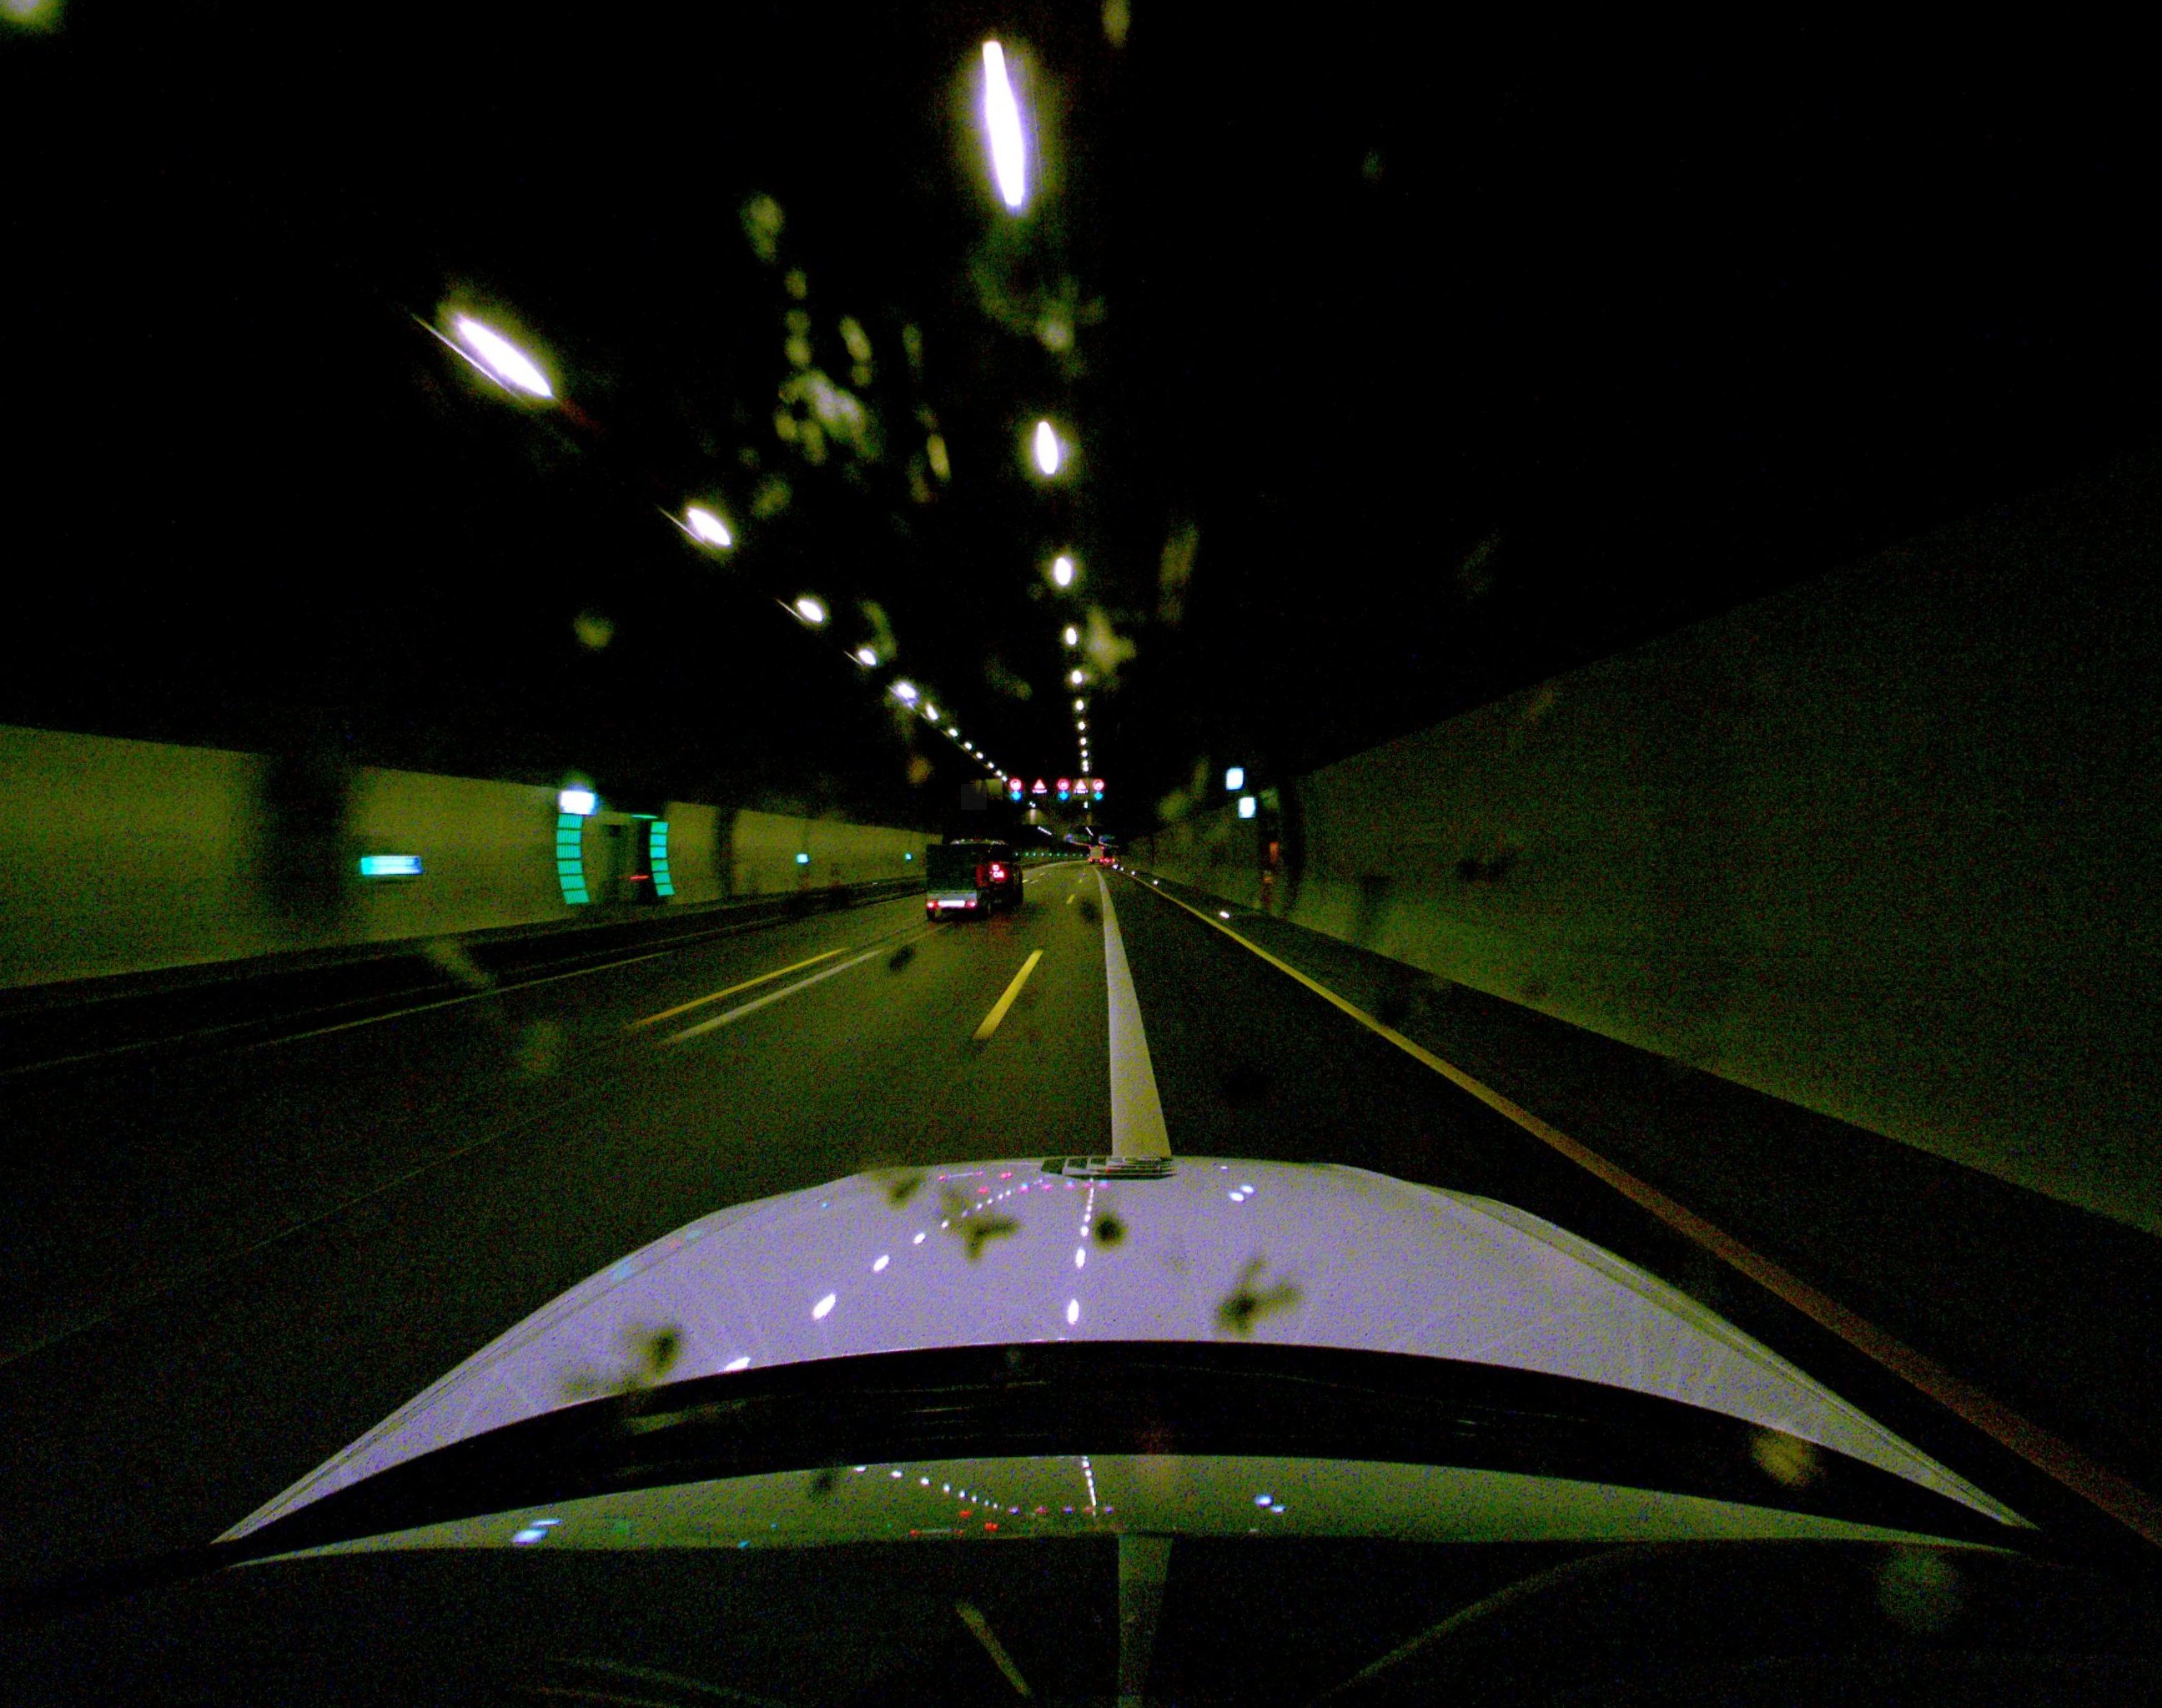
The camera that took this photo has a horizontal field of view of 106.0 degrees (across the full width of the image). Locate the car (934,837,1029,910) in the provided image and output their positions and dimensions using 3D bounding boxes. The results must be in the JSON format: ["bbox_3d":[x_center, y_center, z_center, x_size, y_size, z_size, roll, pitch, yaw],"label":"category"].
[{"bbox_3d":[-2.791,0.501,24.134,1.986,1.895,5.455,-1,0,1],"label":"car"}]

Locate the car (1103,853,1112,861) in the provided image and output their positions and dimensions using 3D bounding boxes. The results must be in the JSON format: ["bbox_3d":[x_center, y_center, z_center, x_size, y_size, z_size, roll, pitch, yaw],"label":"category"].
[{"bbox_3d":[7.304,0.835,222.361,1.983,1.895,5.541,-1,0,6],"label":"car"}]

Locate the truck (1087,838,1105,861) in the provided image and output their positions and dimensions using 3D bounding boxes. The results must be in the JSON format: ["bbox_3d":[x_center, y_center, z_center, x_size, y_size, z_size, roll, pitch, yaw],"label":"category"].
[{"bbox_3d":[2.949,-0.866,162.031,3.463,4.316,10.951,-1,1,0],"label":"truck"}]

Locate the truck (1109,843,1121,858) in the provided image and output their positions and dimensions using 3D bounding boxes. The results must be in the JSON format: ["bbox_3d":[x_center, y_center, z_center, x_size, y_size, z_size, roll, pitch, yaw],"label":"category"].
[{"bbox_3d":[10.861,-1.141,261.145,3.462,4.316,10.953,-2,0,1],"label":"truck"}]
